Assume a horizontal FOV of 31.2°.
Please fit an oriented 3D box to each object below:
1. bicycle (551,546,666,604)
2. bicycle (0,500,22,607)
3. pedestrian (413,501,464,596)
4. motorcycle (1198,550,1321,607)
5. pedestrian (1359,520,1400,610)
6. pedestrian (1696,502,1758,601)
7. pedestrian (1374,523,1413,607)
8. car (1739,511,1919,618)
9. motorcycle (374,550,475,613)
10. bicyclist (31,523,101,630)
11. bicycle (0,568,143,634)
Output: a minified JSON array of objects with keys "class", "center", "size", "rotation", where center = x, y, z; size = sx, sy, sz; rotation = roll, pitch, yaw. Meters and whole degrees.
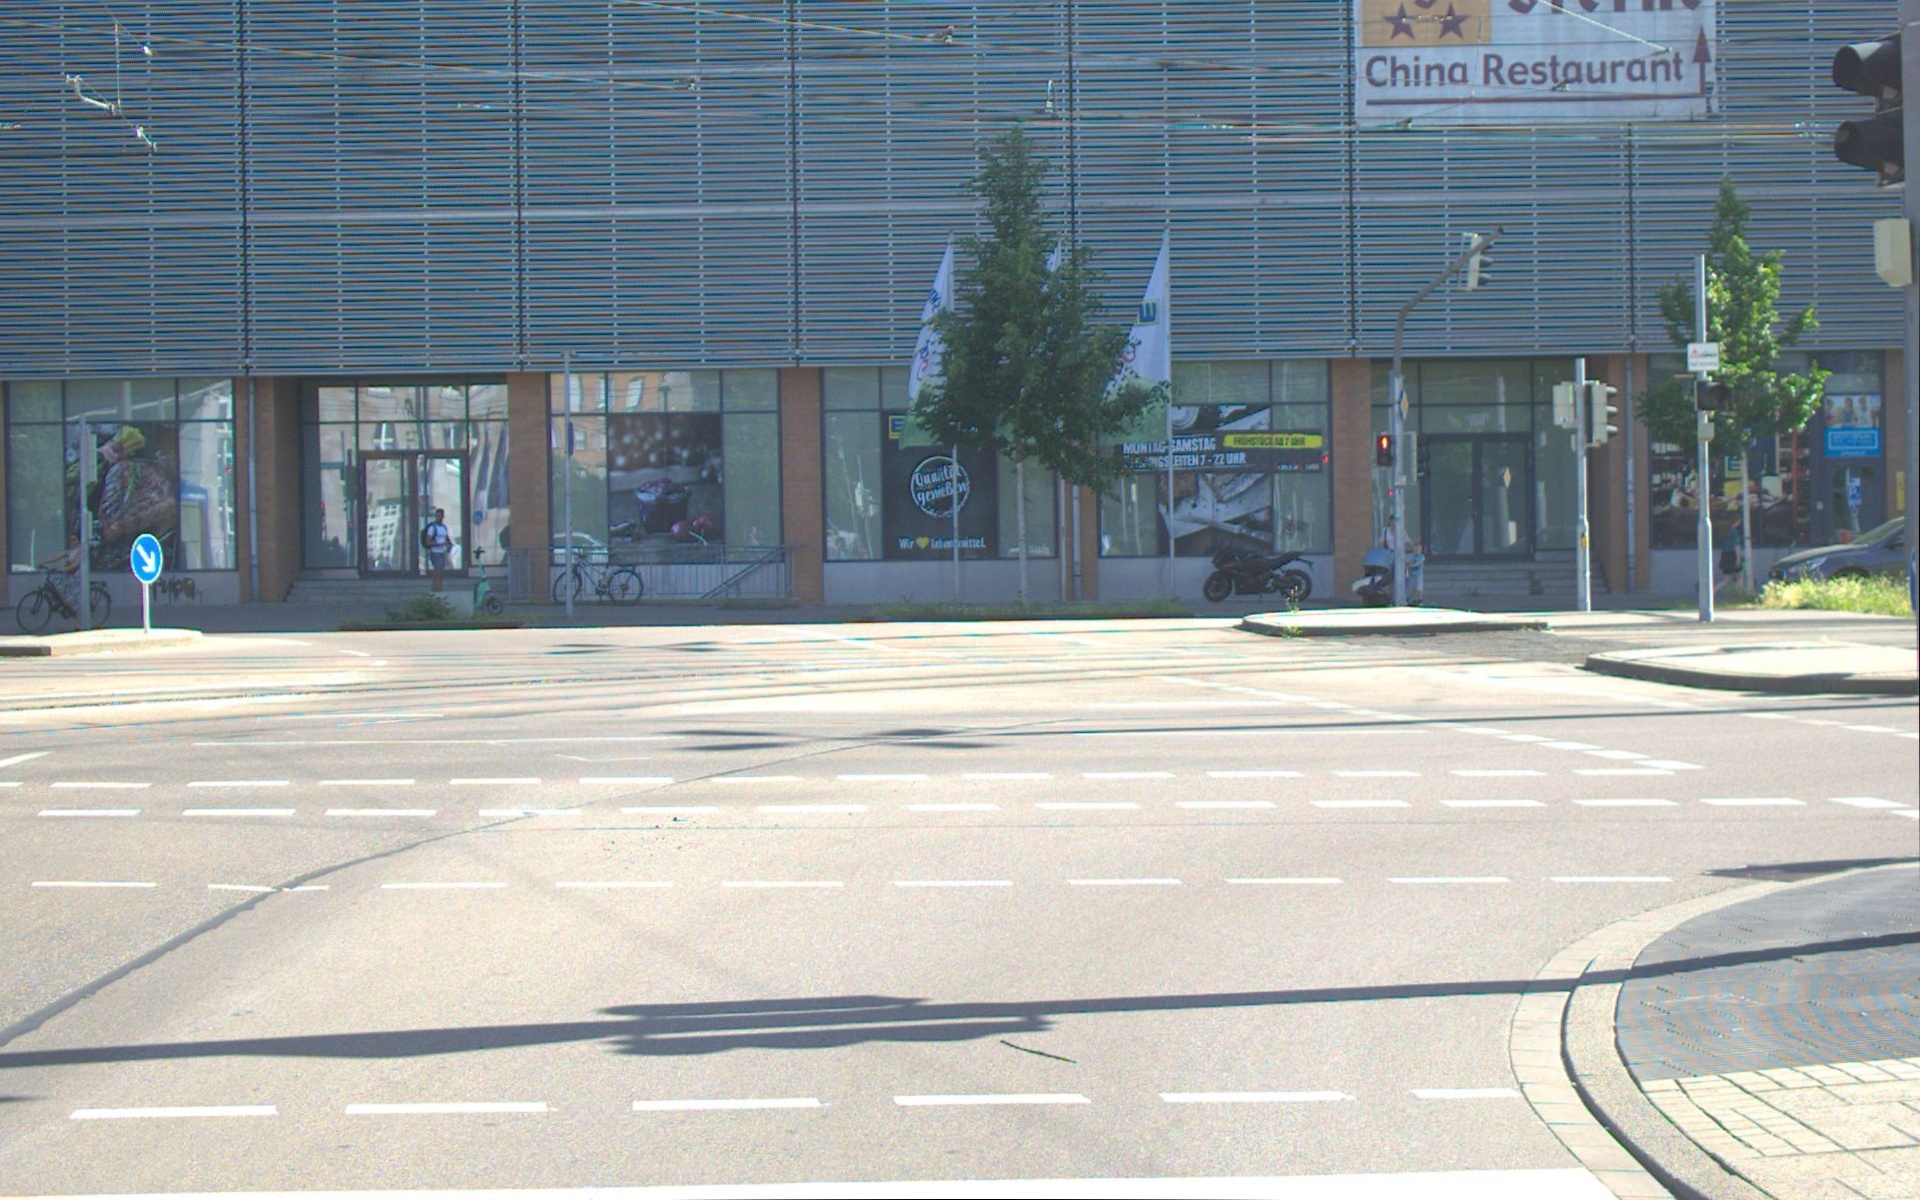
[{"class":"bicycle","center":[-6.565,-0.469,64.323],"size":[2.026,1.055,1.145],"rotation":[-1,1,-1]},{"class":"bicycle","center":[-20.018,-0.895,65.412],"size":[3.987,2.006,1.330],"rotation":[0,2,0]},{"class":"pedestrian","center":[-9.782,-0.971,64.510],"size":[0.848,1.757,0.620],"rotation":[-1,1,-1]},{"class":"motorcycle","center":[5.623,-0.417,64.620],"size":[2.202,1.039,1.061],"rotation":[0,2,0]},{"class":"pedestrian","center":[7.209,-0.603,59.095],"size":[0.589,1.529,0.658],"rotation":[-1,1,-1]},{"class":"pedestrian","center":[13.500,-0.858,60.547],"size":[0.853,1.732,0.754],"rotation":[-1,1,-7]},{"class":"pedestrian","center":[7.563,-0.612,60.001],"size":[0.589,1.457,0.658],"rotation":[-1,1,-1]},{"class":"car","center":[13.630,-0.537,49.458],"size":[4.487,1.489,1.495],"rotation":[-1,1,0]},{"class":"motorcycle","center":[-9.271,-0.321,59.548],"size":[1.652,1.055,0.497],"rotation":[-1,1,9]},{"class":"bicyclist","center":[-15.245,-0.403,58.621],"size":[0.843,1.797,0.816],"rotation":[-2,1,-42]},{"class":"bicycle","center":[-15.233,0.004,58.710],"size":[2.238,1.067,1.046],"rotation":[-2,1,-41]}]
